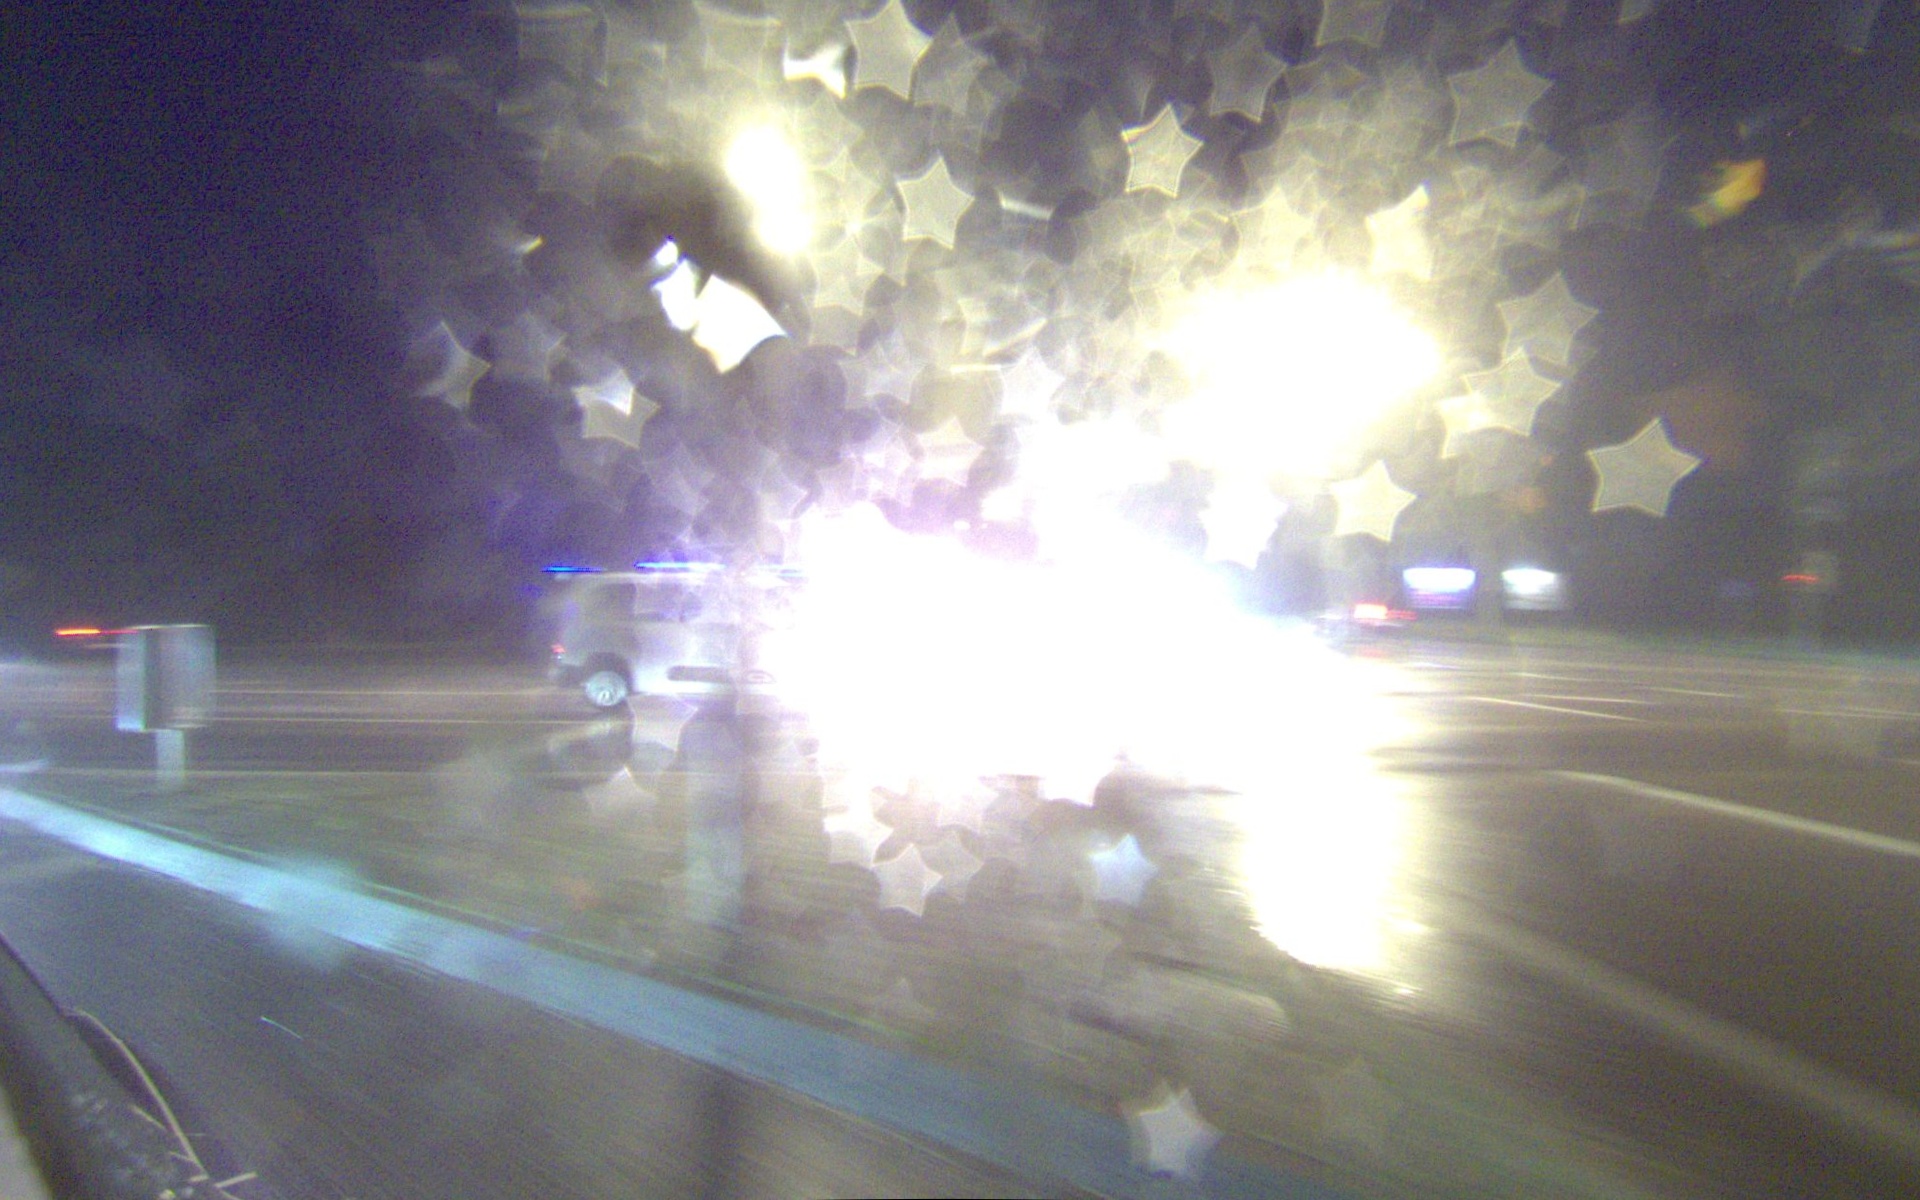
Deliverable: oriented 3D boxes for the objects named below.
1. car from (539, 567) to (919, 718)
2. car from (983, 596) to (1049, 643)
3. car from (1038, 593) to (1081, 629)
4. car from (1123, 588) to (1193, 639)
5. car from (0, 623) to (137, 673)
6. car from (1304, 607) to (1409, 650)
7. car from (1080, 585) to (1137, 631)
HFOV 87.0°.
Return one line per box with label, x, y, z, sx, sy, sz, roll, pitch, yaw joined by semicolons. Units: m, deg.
car;-2.997;0.557;13.782;4.661;1.806;1.997;-1;0;5
car;2.115;0.709;39.584;1.928;1.645;4.265;0;1;-6
car;5.677;0.579;58.089;1.686;1.952;3.616;0;1;-7
car;7.966;0.499;41.046;1.642;1.867;4.152;0;1;-6
car;-28.525;1.499;31.862;3.977;1.424;1.726;-1;2;5
car;16.173;1.124;41.496;1.804;1.485;4.050;-2;2;-18
car;7.151;0.342;49.195;1.766;2.039;4.152;0;1;-6
